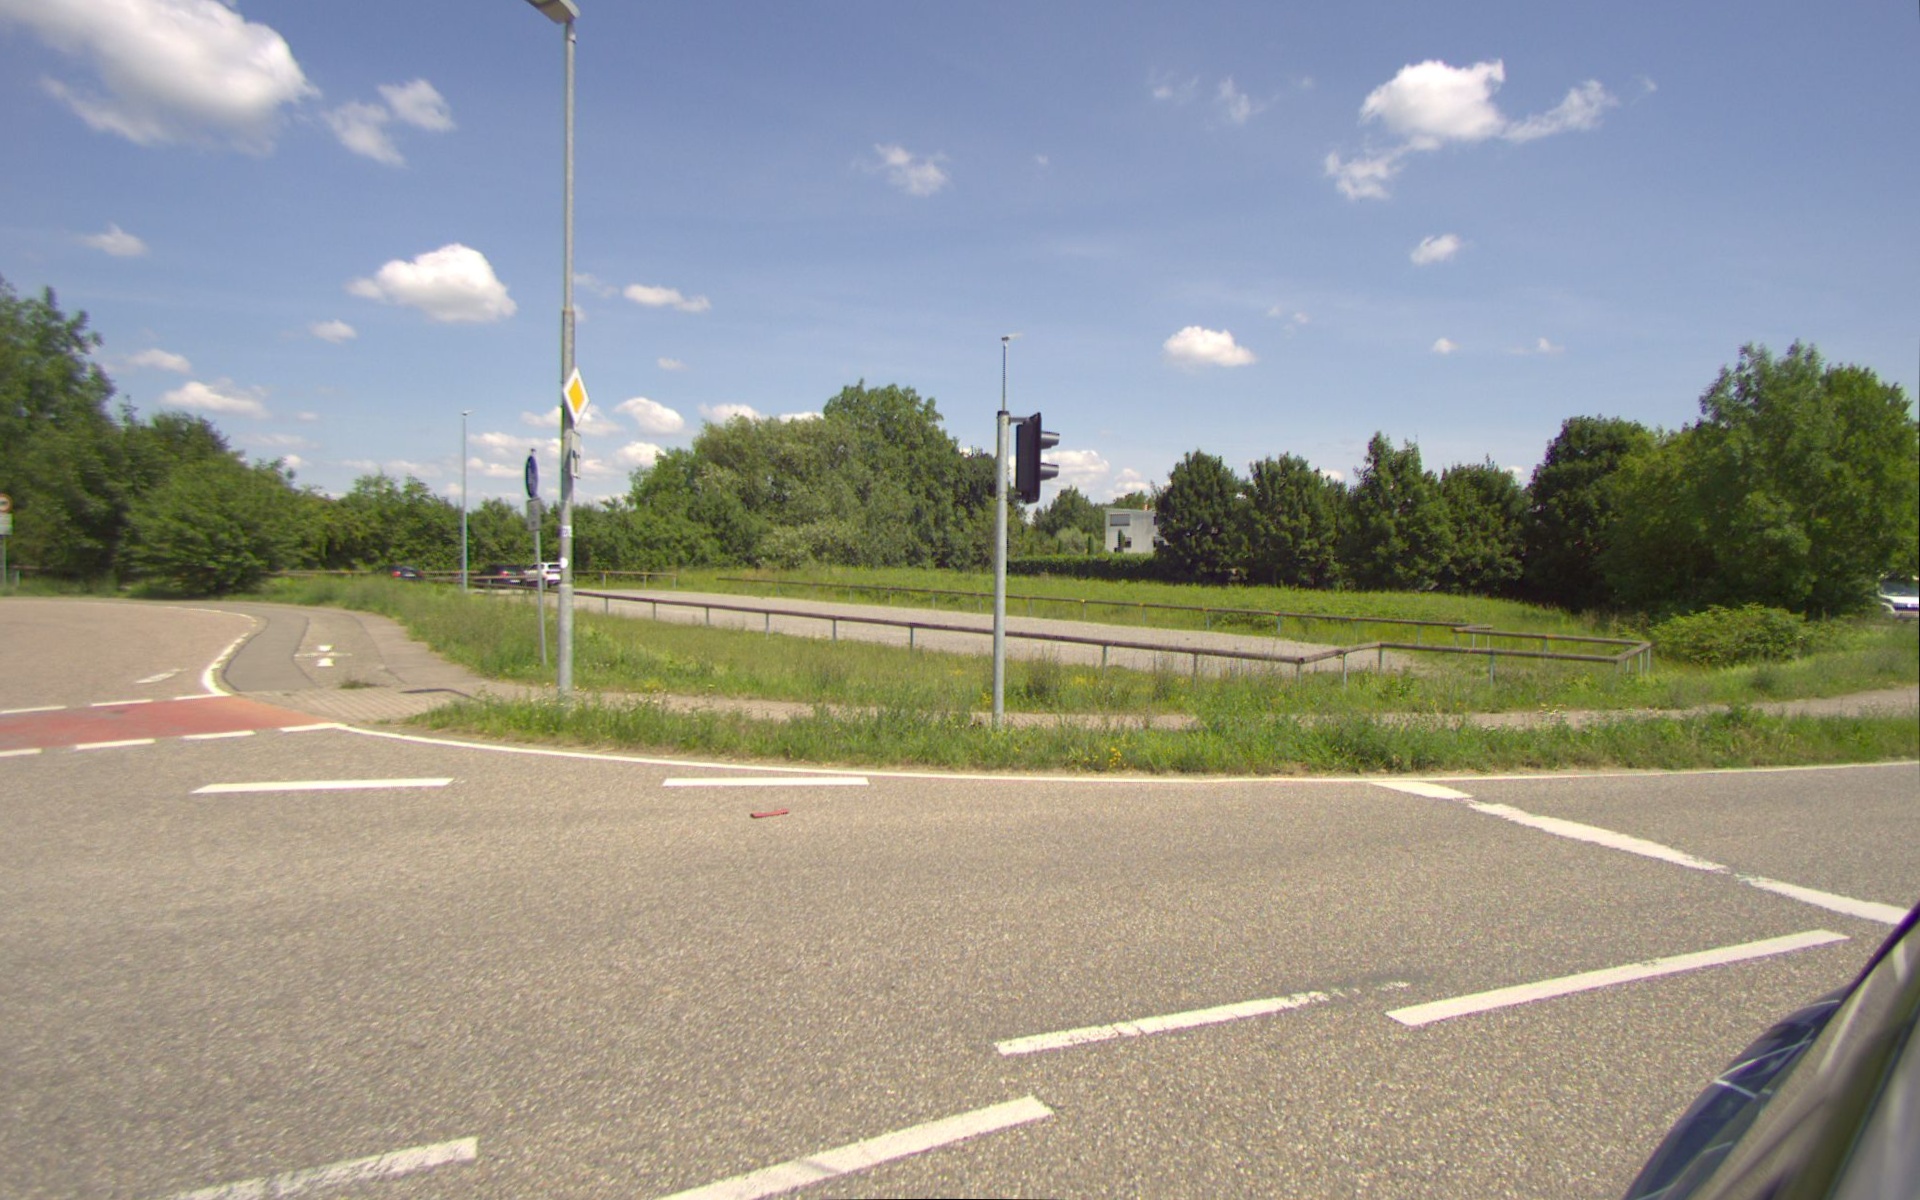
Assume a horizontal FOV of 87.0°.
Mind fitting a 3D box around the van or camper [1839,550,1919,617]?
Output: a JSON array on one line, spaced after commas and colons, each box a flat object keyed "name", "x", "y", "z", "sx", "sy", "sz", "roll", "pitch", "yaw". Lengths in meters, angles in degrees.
[{"name": "van or camper", "x": 44.058, "y": -0.801, "z": 47.864, "sx": 2.429, "sy": 2.861, "sz": 7.538, "roll": 4, "pitch": 3, "yaw": 32}]

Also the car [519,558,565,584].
[{"name": "car", "x": -24.747, "y": -1.704, "z": 59.906, "sx": 3.109, "sy": 1.523, "sz": 1.396, "roll": 1, "pitch": 2, "yaw": 45}]

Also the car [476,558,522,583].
[{"name": "car", "x": -26.222, "y": -1.668, "z": 57.530, "sx": 1.396, "sy": 1.354, "sz": 3.109, "roll": -2, "pitch": 2, "yaw": -45}]

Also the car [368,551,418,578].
[{"name": "car", "x": -30.235, "y": -1.875, "z": 53.943, "sx": 3.105, "sy": 1.354, "sz": 1.398, "roll": 1, "pitch": 2, "yaw": 42}]
